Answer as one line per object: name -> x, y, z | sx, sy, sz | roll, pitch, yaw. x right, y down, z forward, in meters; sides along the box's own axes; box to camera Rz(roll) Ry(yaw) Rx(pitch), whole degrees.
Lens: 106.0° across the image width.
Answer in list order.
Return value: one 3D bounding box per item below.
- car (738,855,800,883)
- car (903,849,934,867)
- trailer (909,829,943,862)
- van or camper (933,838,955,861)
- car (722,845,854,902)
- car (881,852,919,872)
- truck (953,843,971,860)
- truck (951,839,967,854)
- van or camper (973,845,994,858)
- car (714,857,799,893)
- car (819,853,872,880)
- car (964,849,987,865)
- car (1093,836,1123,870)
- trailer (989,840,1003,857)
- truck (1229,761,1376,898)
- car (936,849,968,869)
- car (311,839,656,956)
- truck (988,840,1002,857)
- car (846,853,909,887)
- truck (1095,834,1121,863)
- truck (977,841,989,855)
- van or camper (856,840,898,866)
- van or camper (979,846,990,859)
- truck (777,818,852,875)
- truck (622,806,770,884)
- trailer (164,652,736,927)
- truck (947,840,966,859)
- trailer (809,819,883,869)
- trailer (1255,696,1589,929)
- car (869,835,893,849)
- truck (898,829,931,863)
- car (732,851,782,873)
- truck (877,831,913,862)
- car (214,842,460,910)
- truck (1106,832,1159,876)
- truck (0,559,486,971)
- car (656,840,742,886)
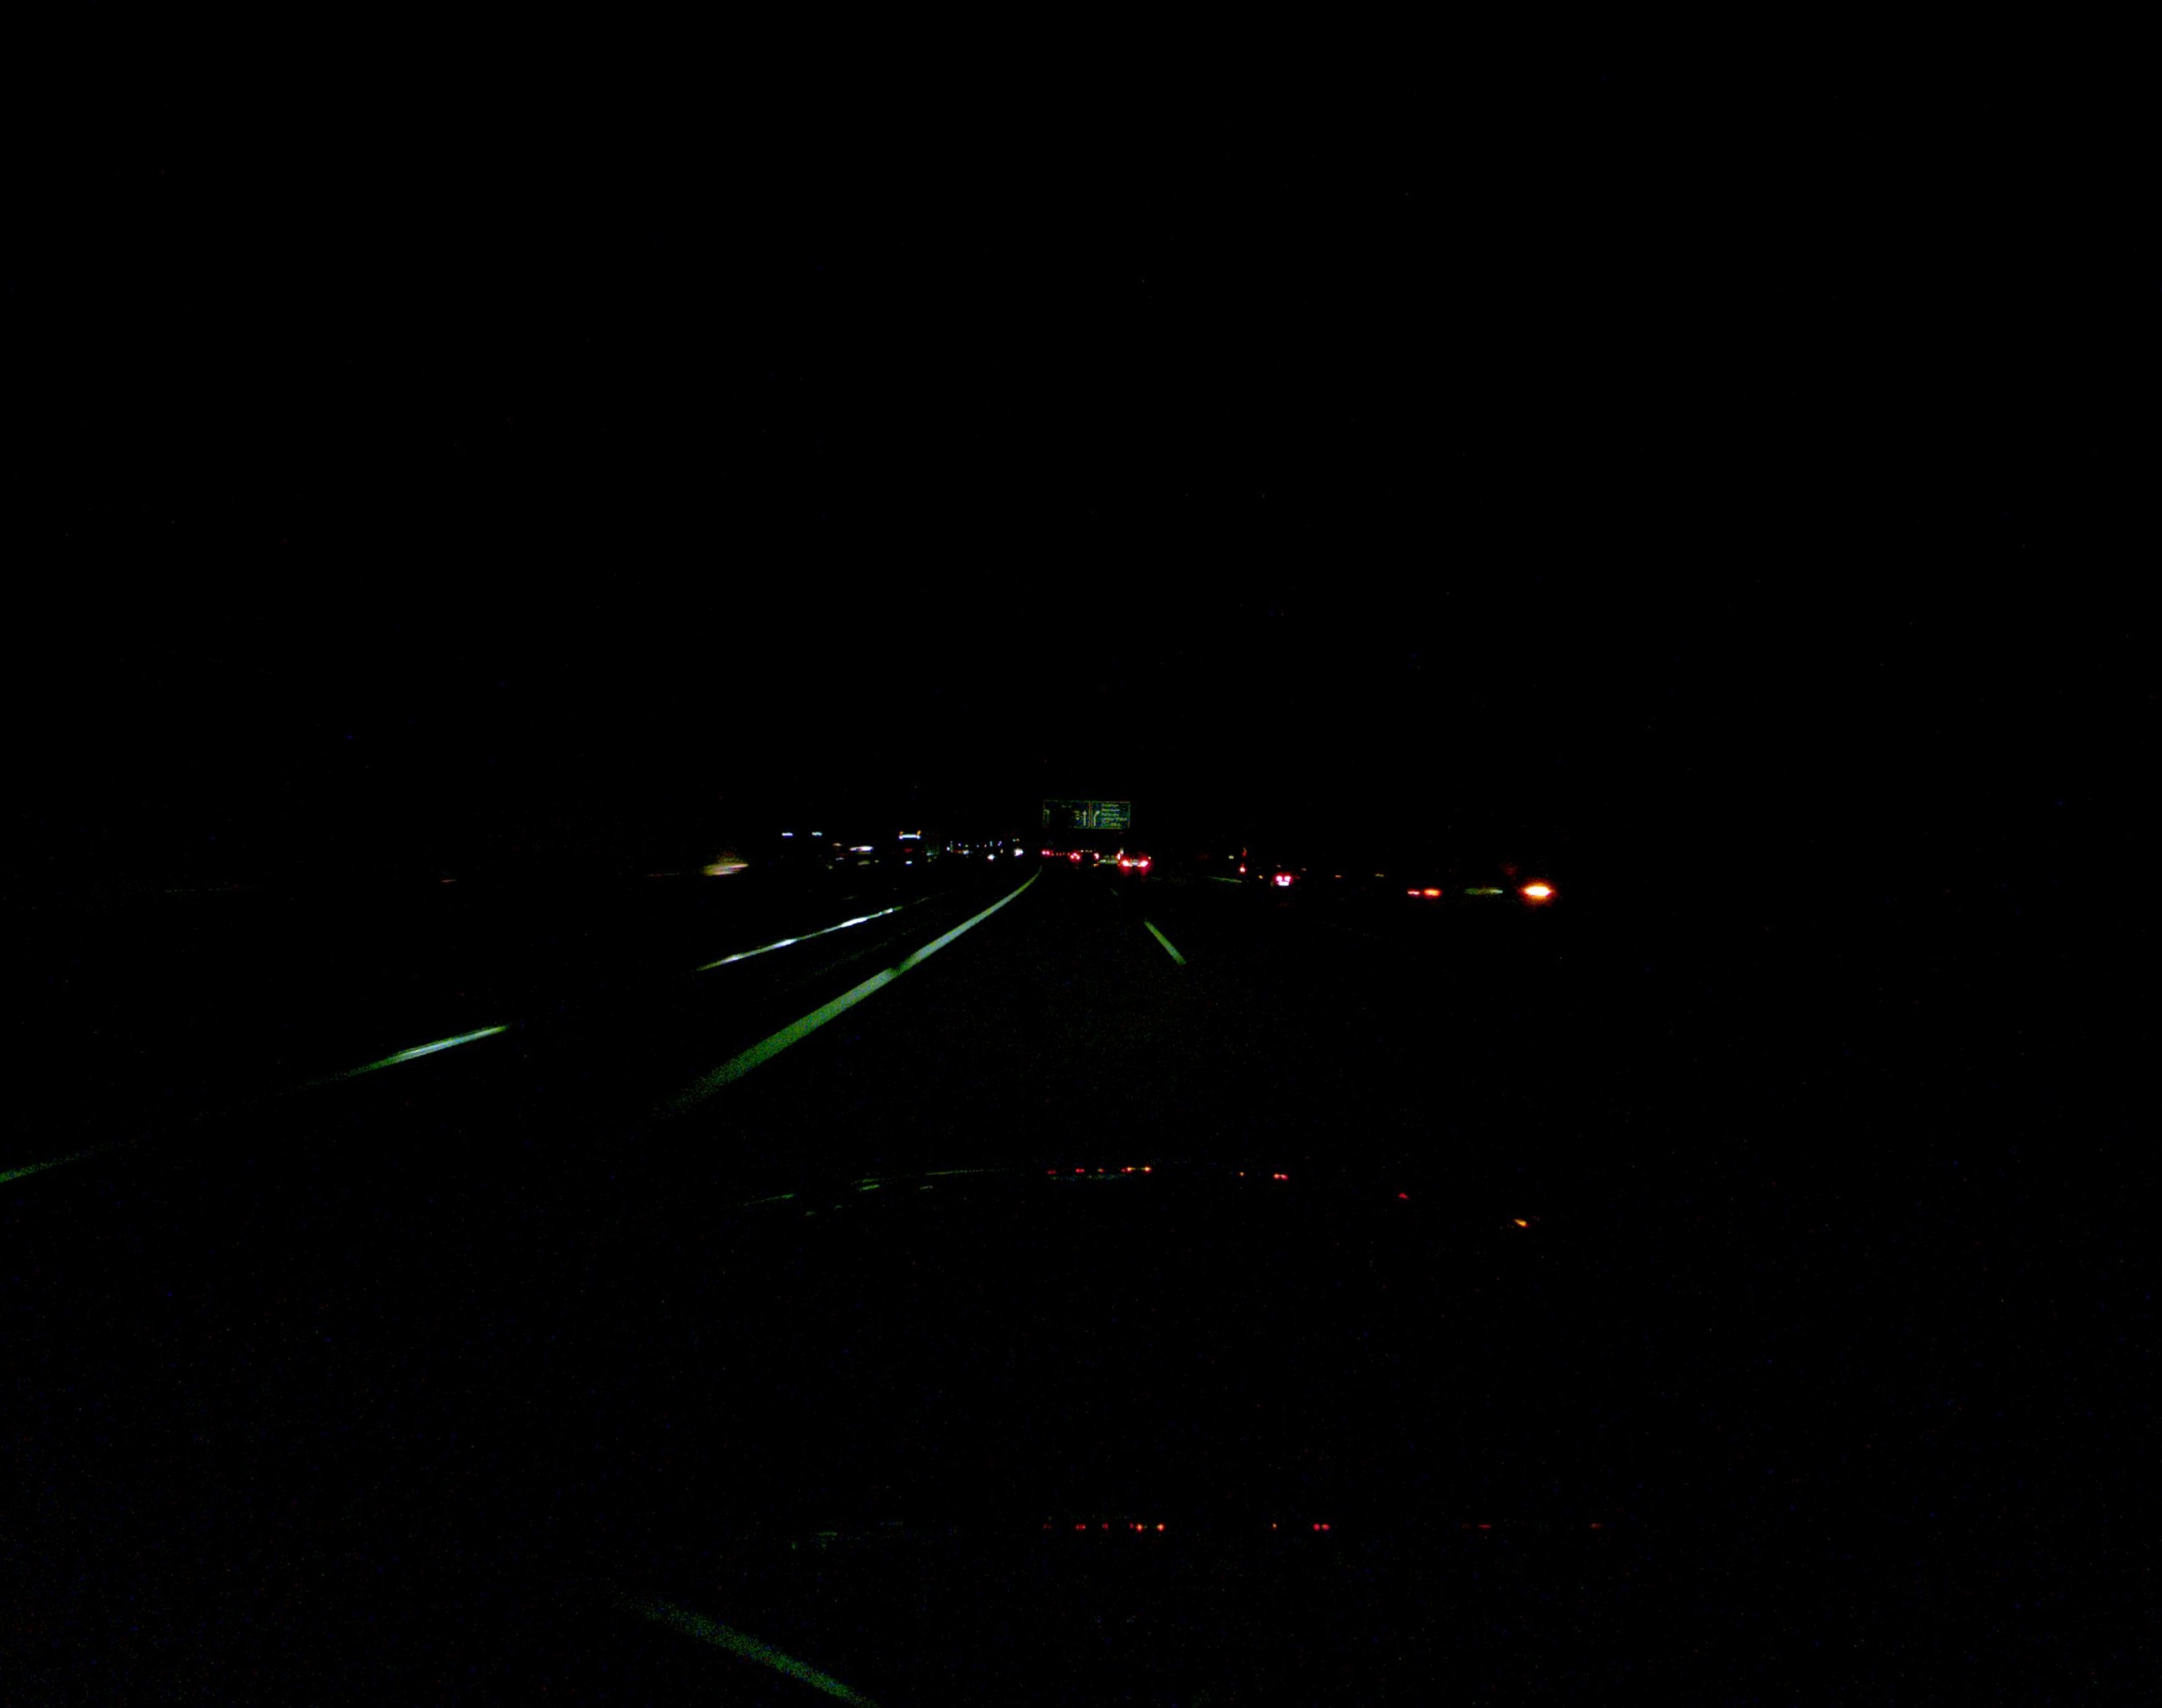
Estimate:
car -> -16.043, 0.723, 42.068 | 1.566, 1.354, 4.572 | -1, 0, -2
car -> -13.169, 0.306, 66.072 | 1.564, 1.354, 4.001 | 1, 0, 1
trailer -> -18.418, -0.901, 97.198 | 2.388, 3.627, 11.167 | 1, 0, -3
van or camper -> -20.005, -0.641, 119.156 | 2.427, 3.272, 7.385 | 1, 0, -3
car -> -8.071, 0.496, 22.944 | 1.866, 1.426, 4.516 | 1, 0, 3
car -> -12.611, 0.550, 56.922 | 1.564, 1.354, 4.002 | 1, 0, 2
truck -> -21.963, -0.380, 150.736 | 2.551, 2.986, 7.442 | 1, -1, -3
truck -> -28.460, -1.723, 189.745 | 2.954, 3.442, 6.353 | 2, 0, -4
van or camper -> -10.474, -0.279, 87.943 | 1.816, 1.354, 5.346 | 1, 0, -2
car -> -12.686, 0.774, 32.119 | 1.564, 1.315, 4.162 | 1, 0, 1
car -> -12.652, 0.653, 43.980 | 1.564, 1.354, 4.001 | 1, 0, 1
car -> -10.385, 0.314, 80.413 | 1.652, 1.471, 4.001 | 1, 0, 1
car -> 2.299, -0.012, 68.422 | 2.327, 2.640, 5.252 | 1, -2, 4
trailer -> -21.204, -1.290, 204.083 | 2.880, 3.671, 12.196 | 3, -1, -4
truck -> 7.317, -0.742, 28.131 | 2.853, 4.077, 7.507 | -1, 0, -1
car -> -9.318, 0.346, 58.949 | 1.564, 1.354, 4.001 | 1, 0, 1
car -> -8.877, 0.550, 12.736 | 1.835, 1.426, 4.516 | 2, 0, 3
truck -> -20.618, -1.313, 195.469 | 2.869, 3.674, 6.769 | 3, -1, -4
car -> -8.680, 0.652, 35.021 | 1.564, 1.354, 4.001 | 1, 0, 1
truck -> 4.394, -0.890, 136.079 | 3.335, 4.476, 13.902 | 2, 0, -1
truck -> -25.872, -1.527, 215.408 | 2.872, 3.673, 6.035 | 2, 0, -8
van or camper -> -17.248, -0.074, 69.224 | 2.183, 2.013, 7.629 | 1, 0, -5
van or camper -> -20.765, -0.360, 176.105 | 2.080, 2.632, 7.591 | 1, 0, -5
truck -> -16.446, -0.376, 50.642 | 2.635, 3.220, 5.793 | 3, -1, 0
truck -> -16.375, -0.342, 35.439 | 2.549, 2.959, 8.171 | 0, 0, 0
trailer -> -12.279, -0.874, 18.699 | 3.080, 4.089, 12.448 | 3, -1, 1
truck -> -21.608, -0.745, 141.615 | 2.551, 2.986, 7.442 | 1, -1, -3
trailer -> -16.454, -0.600, 57.750 | 2.598, 3.176, 9.000 | 3, -1, 0
trailer -> 7.436, -0.745, 20.963 | 2.845, 4.067, 13.199 | -1, 0, -1
car -> -21.362, -1.259, 87.175 | 1.565, 1.354, 3.999 | 1, 0, 0
truck -> -18.070, -0.836, 88.589 | 2.397, 3.514, 6.717 | 1, 0, -2
car -> -20.325, 0.492, 51.242 | 1.565, 1.354, 3.999 | 1, 0, 0
truck -> -23.057, -0.850, 101.398 | 2.388, 3.627, 11.167 | 1, 0, -3
car -> -16.271, 0.436, 18.157 | 1.564, 1.315, 4.162 | 1, 0, 1
truck -> 5.726, 0.135, 96.627 | 3.906, 4.627, 20.994 | -1, -1, -3
truck -> -12.346, -0.889, 11.044 | 3.099, 4.097, 7.074 | 3, -1, 0
car -> -20.439, 0.434, 43.829 | 2.453, 2.295, 4.785 | -1, 0, -3
